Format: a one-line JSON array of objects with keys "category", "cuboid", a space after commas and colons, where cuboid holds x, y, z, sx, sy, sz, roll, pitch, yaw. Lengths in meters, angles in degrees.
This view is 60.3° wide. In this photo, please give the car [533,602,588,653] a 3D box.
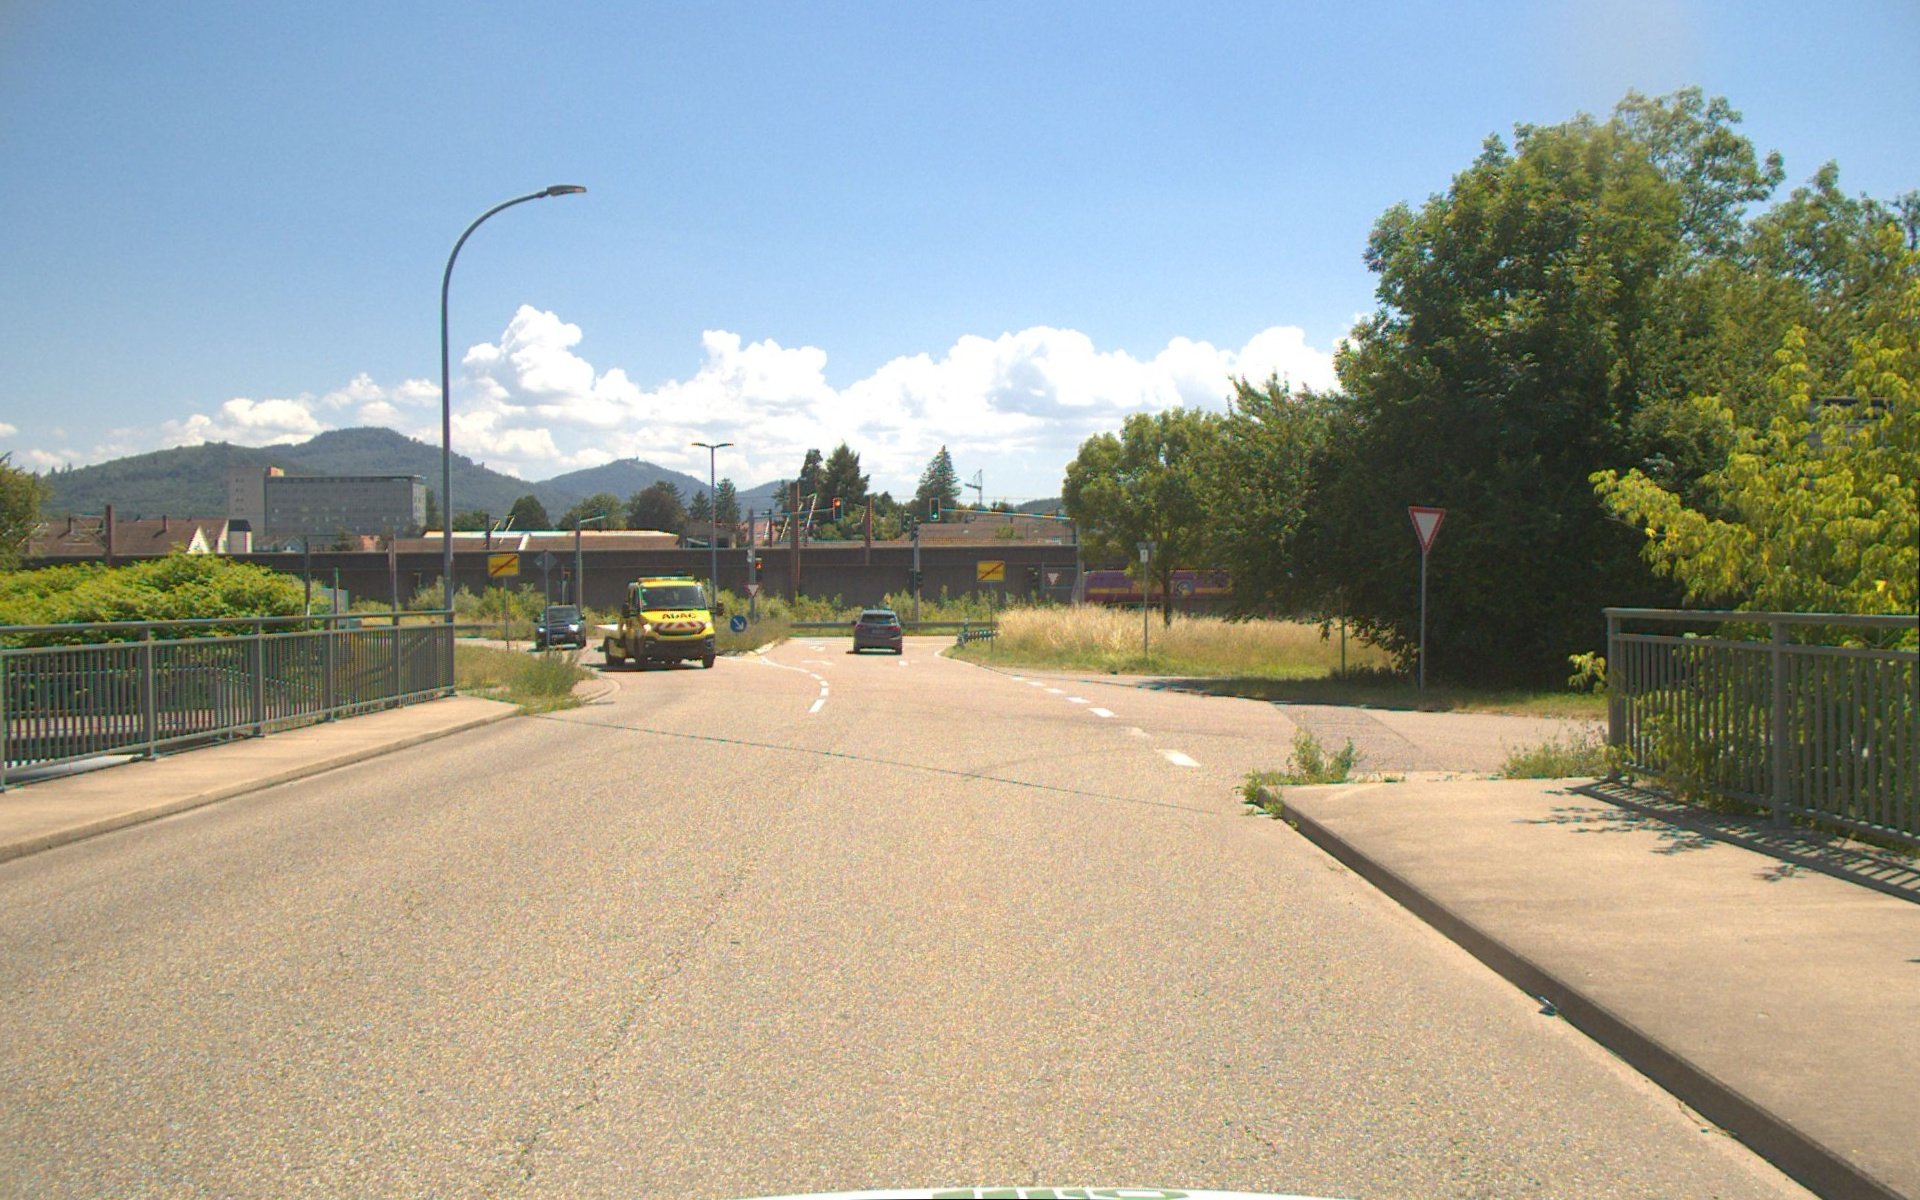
[{"category": "car", "cuboid": [-15.438, 1.019, 63.800, 1.871, 1.731, 3.983, -3, 2, -16]}]

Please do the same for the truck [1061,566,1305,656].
[{"category": "truck", "cuboid": [10.908, 0.586, 81.134, 11.560, 4.254, 2.997, 0, -1, -12]}]

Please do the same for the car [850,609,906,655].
[{"category": "car", "cuboid": [-3.047, 1.147, 60.931, 1.954, 1.529, 3.997, 1, 0, -4]}]

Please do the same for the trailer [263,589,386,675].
[{"category": "trailer", "cuboid": [-15.927, 0.779, 41.350, 1.837, 2.049, 3.906, 1, -1, -38]}]

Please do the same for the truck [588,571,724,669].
[{"category": "truck", "cuboid": [-8.569, 0.582, 45.789, 2.276, 2.378, 8.999, -2, -1, -19]}]
